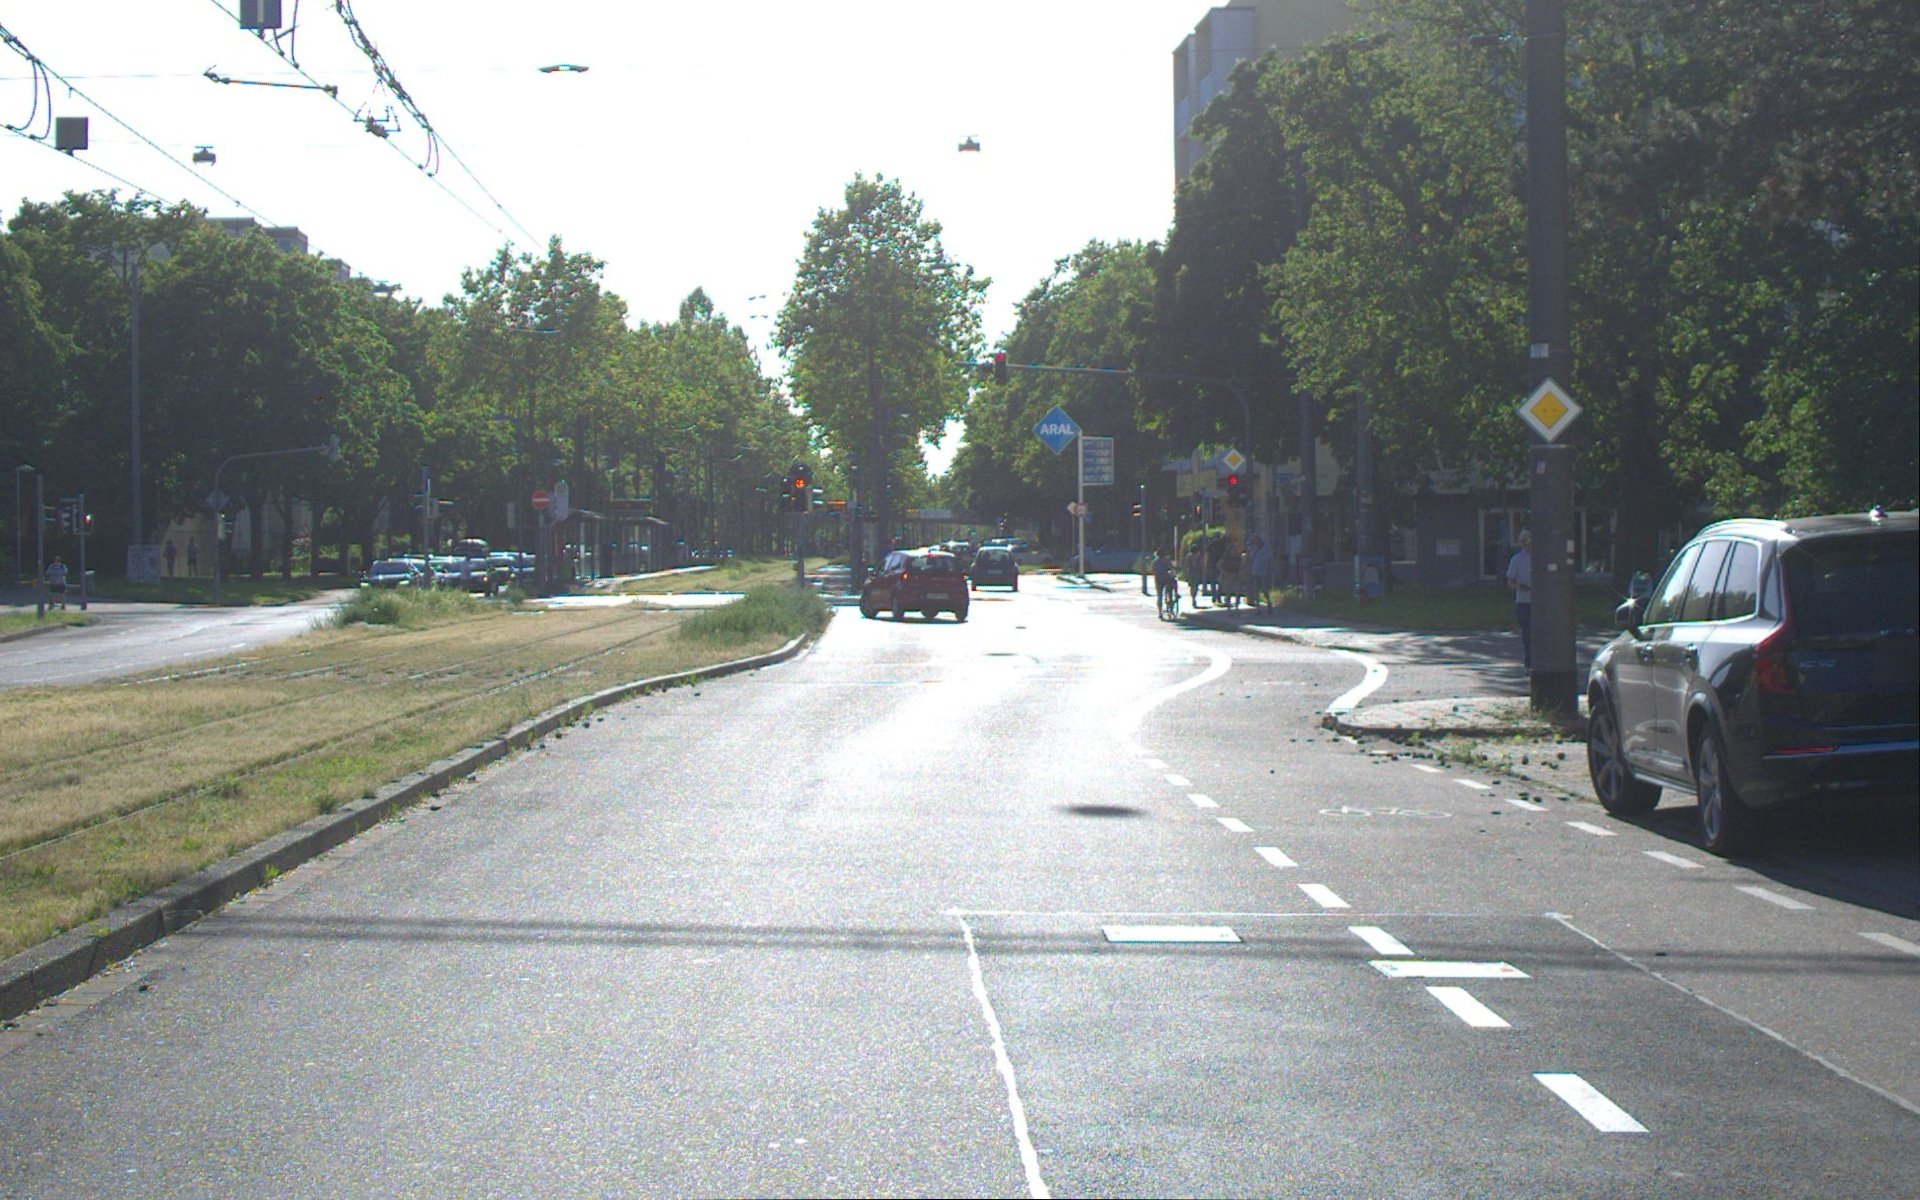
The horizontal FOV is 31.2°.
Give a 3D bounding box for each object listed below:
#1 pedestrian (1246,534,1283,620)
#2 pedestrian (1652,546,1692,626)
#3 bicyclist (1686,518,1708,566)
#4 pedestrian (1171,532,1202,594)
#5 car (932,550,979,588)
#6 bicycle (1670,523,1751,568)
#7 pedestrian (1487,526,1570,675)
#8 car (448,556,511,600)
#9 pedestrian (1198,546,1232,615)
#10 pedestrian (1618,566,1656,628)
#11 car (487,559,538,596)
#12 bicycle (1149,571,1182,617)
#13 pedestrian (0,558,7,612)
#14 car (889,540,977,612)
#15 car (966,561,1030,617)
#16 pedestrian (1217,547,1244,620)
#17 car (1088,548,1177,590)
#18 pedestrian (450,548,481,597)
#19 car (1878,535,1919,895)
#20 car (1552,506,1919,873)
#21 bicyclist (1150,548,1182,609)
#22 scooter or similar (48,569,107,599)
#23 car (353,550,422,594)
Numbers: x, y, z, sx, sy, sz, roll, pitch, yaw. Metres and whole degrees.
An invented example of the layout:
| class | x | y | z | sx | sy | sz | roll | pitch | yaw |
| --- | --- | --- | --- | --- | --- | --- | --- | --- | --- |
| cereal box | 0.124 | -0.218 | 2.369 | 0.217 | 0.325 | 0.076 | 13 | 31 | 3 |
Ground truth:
| class | x | y | z | sx | sy | sz | roll | pitch | yaw |
| --- | --- | --- | --- | --- | --- | --- | --- | --- | --- |
| pedestrian | 6.458 | -0.496 | 72.940 | 0.703 | 1.783 | 0.694 | -3 | 2 | 5 |
| pedestrian | 11.096 | -0.221 | 53.560 | 0.404 | 1.222 | 0.760 | 2 | 1 | 26 |
| bicyclist | 24.184 | -1.902 | 112.832 | 0.527 | 1.562 | 0.464 | 2 | 1 | -3 |
| pedestrian | 5.599 | -0.909 | 84.960 | 0.647 | 1.517 | 0.496 | 2 | 1 | 12 |
| car | -0.224 | -1.394 | 152.558 | 1.894 | 1.605 | 4.501 | 2 | 1 | -2 |
| bicycle | 24.759 | -1.806 | 113.396 | 2.470 | 1.394 | 0.608 | 2 | 1 | -2 |
| pedestrian | 6.654 | -0.003 | 40.282 | 0.880 | 1.716 | 0.725 | -1 | 1 | 5 |
| car | -17.258 | -0.811 | 123.660 | 1.687 | 1.528 | 4.361 | -1 | 1 | -1 |
| pedestrian | 6.312 | -0.494 | 85.037 | 0.730 | 1.676 | 0.532 | 2 | 1 | 12 |
| pedestrian | 10.563 | -0.048 | 53.644 | 0.404 | 0.931 | 0.622 | 2 | 3 | 26 |
| car | -18.198 | -0.932 | 139.942 | 1.566 | 1.397 | 3.915 | 2 | 1 | -1 |
| bicycle | 4.555 | -0.144 | 76.173 | 0.648 | 0.969 | 1.803 | 2 | 1 | 2 |
| pedestrian | -29.554 | -0.458 | 105.156 | 0.443 | 1.661 | 0.746 | 2 | 1 | 9 |
| car | -0.609 | -0.539 | 74.811 | 1.694 | 1.503 | 3.699 | 1 | 1 | -3 |
| car | 1.301 | -0.408 | 120.516 | 1.968 | 1.853 | 4.001 | 2 | 1 | -2 |
| pedestrian | 5.751 | -0.358 | 73.108 | 0.529 | 1.523 | 0.627 | -2 | 0 | 5 |
| car | 8.290 | -1.482 | 165.349 | 3.989 | 1.853 | 2.011 | 2 | 1 | 10 |
| pedestrian | -16.591 | -0.920 | 115.413 | 0.891 | 1.601 | 0.613 | 2 | 1 | -1 |
| car | 5.070 | 0.487 | 13.518 | 1.593 | 1.573 | 3.896 | -3 | 1 | -4 |
| car | 4.696 | 0.375 | 19.040 | 1.879 | 1.711 | 4.934 | -3 | 1 | 0 |
| bicyclist | 4.559 | -0.480 | 76.104 | 0.638 | 1.318 | 0.803 | 2 | 1 | 1 |
| scooter or similar | -27.238 | -0.507 | 106.057 | 1.734 | 0.896 | 0.563 | -1 | 1 | -16 |
| car | -20.462 | -1.003 | 122.987 | 1.806 | 1.528 | 4.361 | -1 | 1 | -1 |
